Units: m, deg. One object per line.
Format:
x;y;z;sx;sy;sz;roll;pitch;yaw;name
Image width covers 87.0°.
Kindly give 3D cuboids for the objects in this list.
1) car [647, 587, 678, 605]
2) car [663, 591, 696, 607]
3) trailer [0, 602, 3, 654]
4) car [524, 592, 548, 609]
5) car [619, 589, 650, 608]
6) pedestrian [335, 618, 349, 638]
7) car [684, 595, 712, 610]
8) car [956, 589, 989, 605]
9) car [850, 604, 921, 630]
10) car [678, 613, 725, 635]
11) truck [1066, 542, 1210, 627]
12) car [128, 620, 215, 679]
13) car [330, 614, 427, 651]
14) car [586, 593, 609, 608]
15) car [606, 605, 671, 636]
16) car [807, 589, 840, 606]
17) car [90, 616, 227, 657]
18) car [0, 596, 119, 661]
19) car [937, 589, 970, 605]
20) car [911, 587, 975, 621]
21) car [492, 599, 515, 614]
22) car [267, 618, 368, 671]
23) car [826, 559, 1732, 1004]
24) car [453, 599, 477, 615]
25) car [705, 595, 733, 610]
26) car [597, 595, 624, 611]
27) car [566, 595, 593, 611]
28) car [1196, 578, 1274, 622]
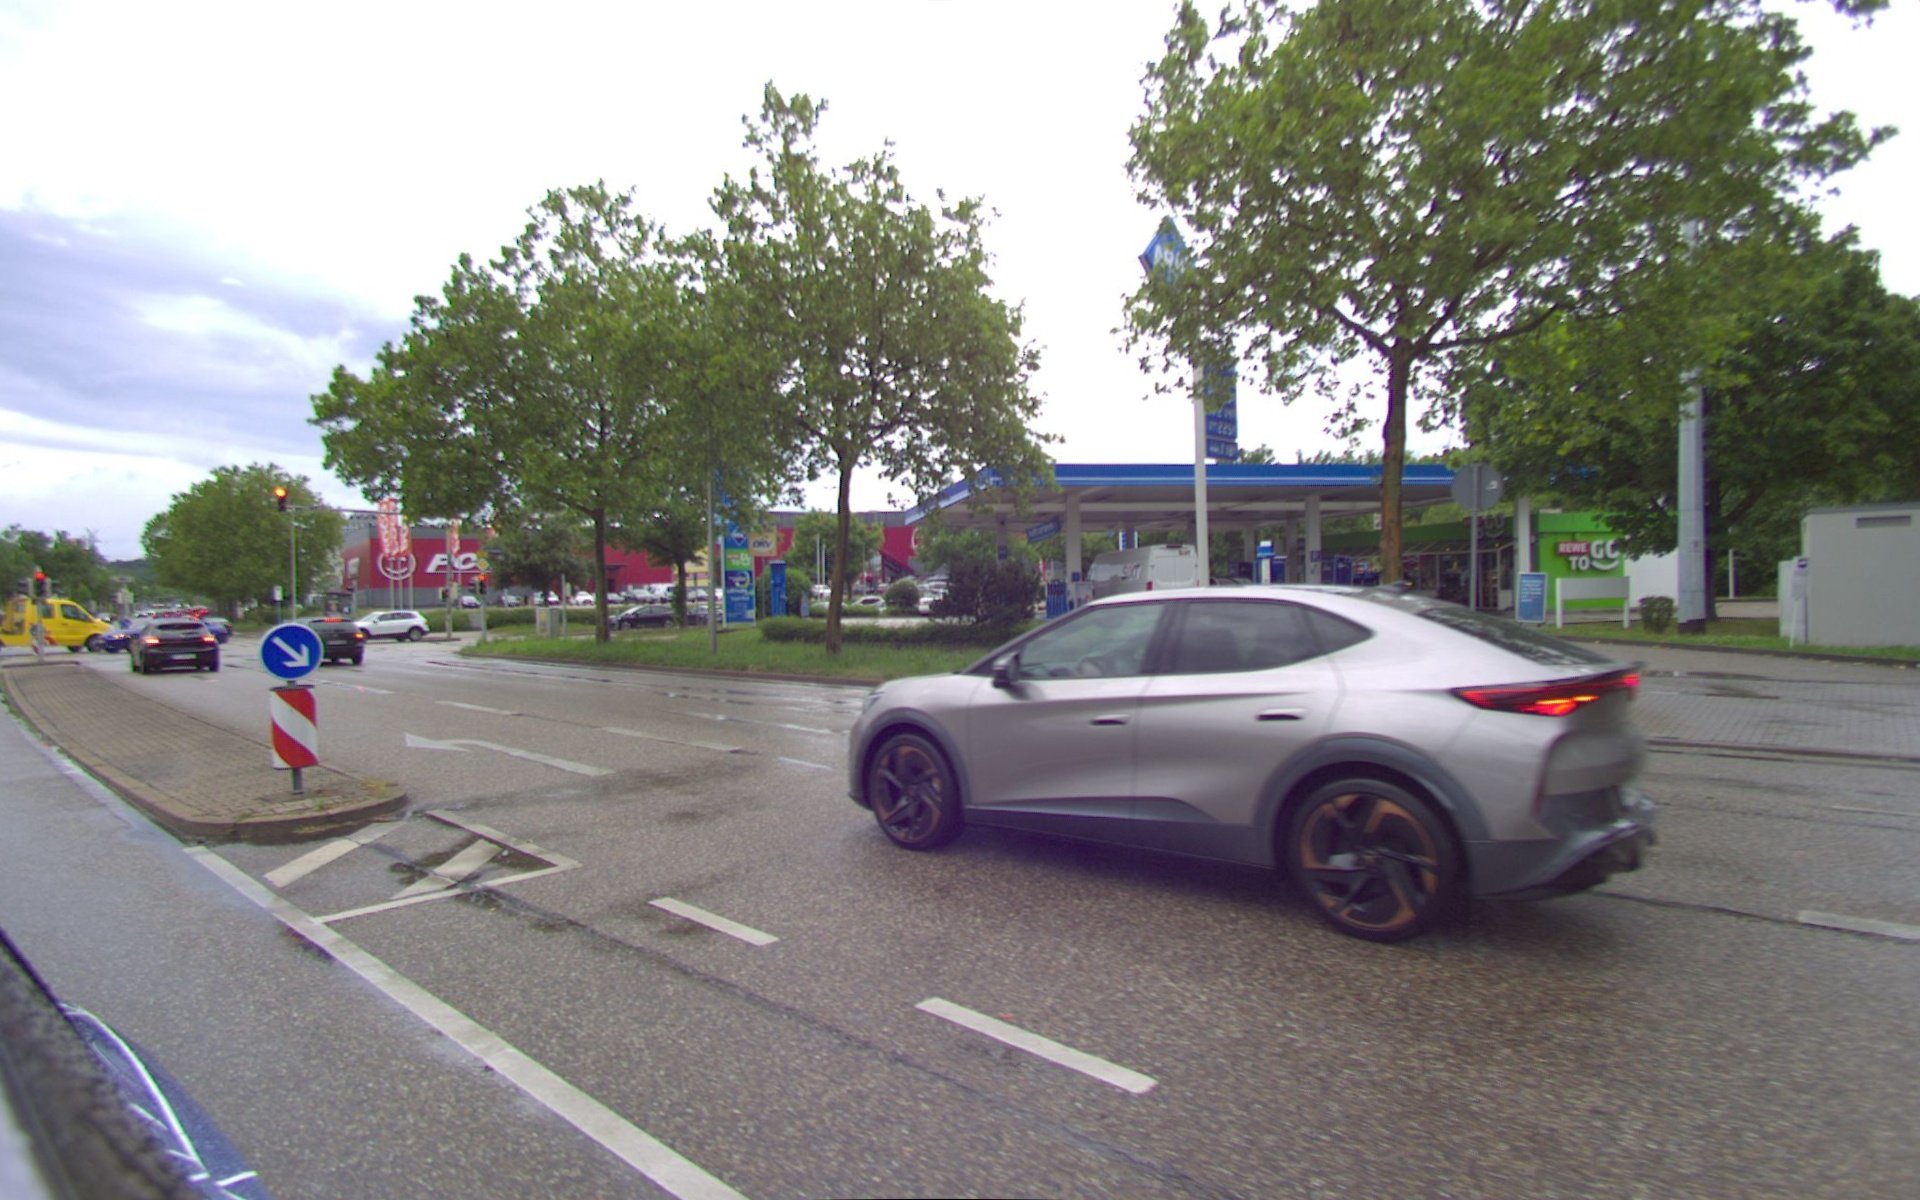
-28.734;-0.411;97.647;1.606;1.658;3.835;0;-1;-37;car
-26.224;-0.075;94.522;1.646;1.391;3.918;0;-1;-37;car
-42.145;1.176;38.557;2.301;2.492;7.895;-3;1;28;trailer
-50.472;0.027;120.445;1.763;1.940;3.757;0;-1;-39;car
-30.723;-0.146;95.459;1.646;1.658;3.835;0;-1;-37;car
-46.233;2.096;75.709;0.769;1.442;0.642;1;-2;-42;pedestrian
-29.842;0.308;115.245;1.646;1.658;3.971;0;-1;-37;car
1.383;-0.339;113.728;1.646;1.658;3.835;0;-1;-37;car
-4.743;1.072;63.824;1.901;1.601;4.589;0;-1;-45;car
-18.652;1.732;72.952;1.660;1.565;3.663;0;-1;-45;car
6.151;-0.421;36.499;2.119;2.696;7.893;-1;-1;-13;truck
-22.139;1.348;28.368;1.623;1.520;3.897;0;-1;-43;car
-30.151;1.630;52.560;1.900;1.564;3.947;1;3;40;car
-44.646;0.078;124.598;1.670;1.658;3.971;0;-1;-37;car
-19.744;1.236;62.191;3.484;1.709;1.604;-2;1;-40;car
-13.840;-0.270;102.282;1.646;1.658;3.835;0;-1;-37;car
-34.629;1.533;43.823;1.803;1.645;4.485;-2;-2;45;car
-39.619;1.234;43.386;2.237;2.492;4.967;-3;1;29;car
-0.709;-0.330;111.954;1.646;1.658;3.835;0;-1;-37;car
-0.914;0.228;56.795;1.810;1.811;3.657;-1;-1;34;car
-53.364;0.795;118.325;1.670;1.658;3.971;0;-1;-37;car
-20.067;1.335;31.519;1.969;1.520;4.737;0;-1;-41;car
1.458;0.665;5.762;4.595;1.574;1.793;-1;-1;40;car
-54.468;0.761;111.409;1.670;1.658;3.971;0;-1;-37;car
-27.840;0.299;116.798;1.646;1.658;3.971;0;-1;-37;car
-38.109;0.349;110.247;1.646;1.658;3.971;0;-1;-37;car
-41.095;0.370;109.185;1.646;1.658;3.971;0;-1;-37;car
10.536;-0.037;39.059;1.663;1.594;3.569;-1;1;-7;car
